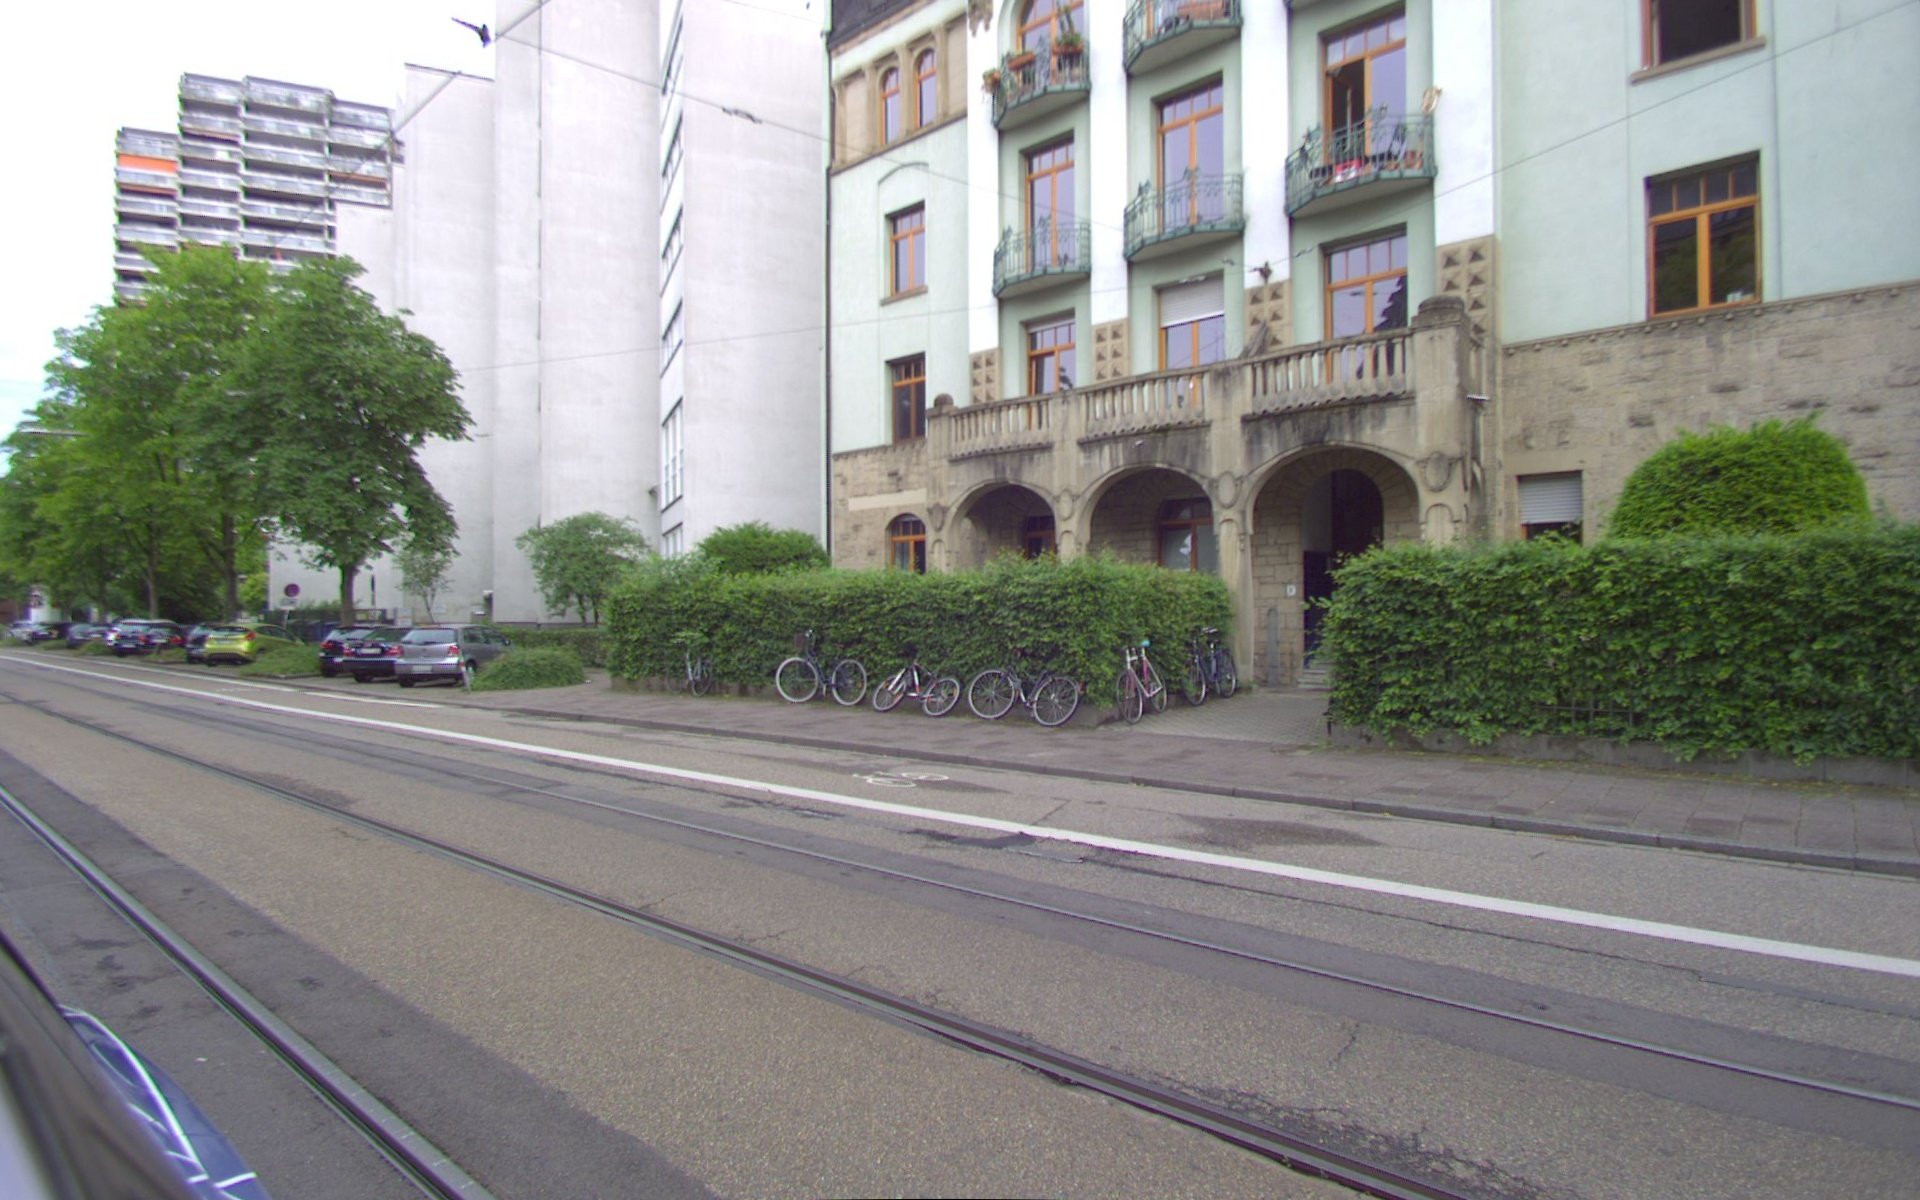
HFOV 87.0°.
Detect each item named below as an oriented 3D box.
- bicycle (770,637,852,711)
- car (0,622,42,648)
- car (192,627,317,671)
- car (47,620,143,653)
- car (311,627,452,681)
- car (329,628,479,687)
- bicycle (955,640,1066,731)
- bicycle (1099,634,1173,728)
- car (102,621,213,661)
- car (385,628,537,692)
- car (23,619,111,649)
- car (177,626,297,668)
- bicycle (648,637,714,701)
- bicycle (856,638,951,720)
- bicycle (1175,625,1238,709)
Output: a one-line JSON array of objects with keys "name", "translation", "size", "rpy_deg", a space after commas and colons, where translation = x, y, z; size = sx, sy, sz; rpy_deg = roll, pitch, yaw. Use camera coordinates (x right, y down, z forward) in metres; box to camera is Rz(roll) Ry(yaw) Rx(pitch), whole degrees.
[{"name": "bicycle", "translation": [-2.336, 1.132, 15.798], "size": [1.546, 1.092, 0.356], "rpy_deg": [-1, -2, 41]}, {"name": "car", "translation": [-60.056, 2.197, 64.499], "size": [3.996, 1.632, 1.673], "rpy_deg": [-1, -2, 39]}, {"name": "car", "translation": [-24.323, 1.648, 35.062], "size": [1.670, 1.405, 4.002], "rpy_deg": [0, -1, -3]}, {"name": "car", "translation": [-44.653, 1.857, 52.376], "size": [1.670, 1.632, 4.002], "rpy_deg": [0, -1, -3]}, {"name": "car", "translation": [-16.290, 1.484, 28.725], "size": [1.672, 1.413, 3.998], "rpy_deg": [0, -1, 1]}, {"name": "car", "translation": [-14.292, 1.436, 26.280], "size": [1.672, 1.413, 3.998], "rpy_deg": [0, -1, 1]}, {"name": "bicycle", "translation": [0.627, 1.070, 13.037], "size": [1.546, 1.092, 0.356], "rpy_deg": [-1, -2, 41]}, {"name": "bicycle", "translation": [2.256, 1.008, 12.902], "size": [0.300, 1.091, 1.190], "rpy_deg": [-2, 1, 42]}, {"name": "car", "translation": [-34.150, 1.727, 43.217], "size": [1.670, 1.632, 4.002], "rpy_deg": [0, -1, -3]}, {"name": "car", "translation": [-11.965, 1.390, 24.557], "size": [1.672, 1.413, 3.998], "rpy_deg": [0, -1, 1]}, {"name": "car", "translation": [-51.599, 1.948, 58.564], "size": [1.670, 1.632, 4.002], "rpy_deg": [0, -1, -3]}, {"name": "car", "translation": [-26.476, 1.671, 37.236], "size": [1.670, 1.453, 4.002], "rpy_deg": [0, -1, -3]}, {"name": "bicycle", "translation": [-5.009, 1.219, 18.115], "size": [1.546, 1.092, 0.356], "rpy_deg": [-1, -2, 41]}, {"name": "bicycle", "translation": [-0.823, 1.091, 14.367], "size": [1.546, 1.092, 0.356], "rpy_deg": [-1, -2, 41]}, {"name": "bicycle", "translation": [3.514, 0.935, 14.388], "size": [0.300, 1.091, 1.190], "rpy_deg": [-2, 1, 42]}]
